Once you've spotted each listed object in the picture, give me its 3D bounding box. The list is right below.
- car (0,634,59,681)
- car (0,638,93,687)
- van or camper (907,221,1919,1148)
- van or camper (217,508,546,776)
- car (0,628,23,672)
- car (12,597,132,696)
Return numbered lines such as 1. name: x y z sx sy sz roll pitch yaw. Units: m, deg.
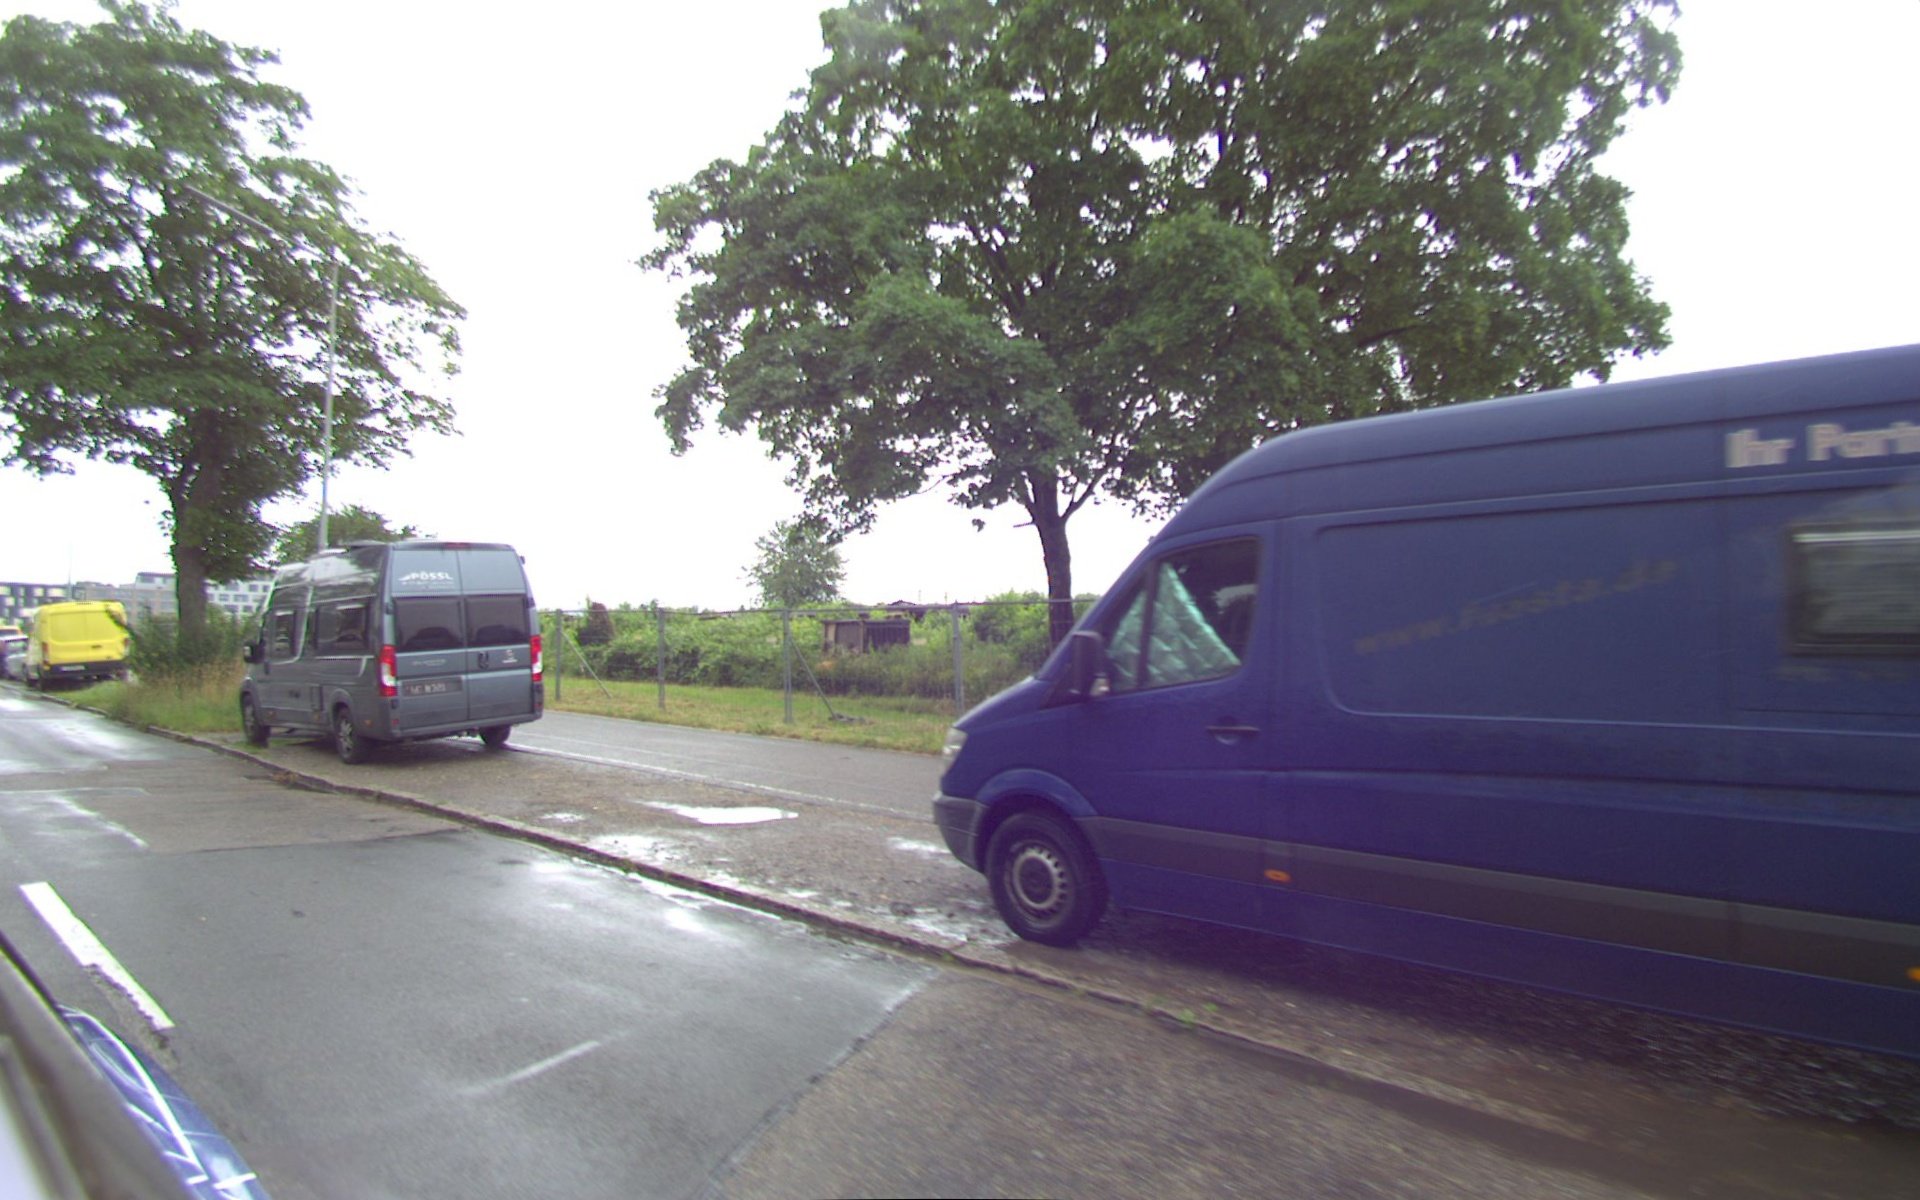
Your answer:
1. car: -35.892 2.147 38.351 5.014 1.606 1.973 -1 -1 41
2. car: -31.774 2.101 34.961 5.337 1.445 1.989 -1 0 41
3. van or camper: 3.274 0.249 3.973 7.568 2.736 2.073 -1 -1 40
4. van or camper: -8.580 0.531 14.633 6.419 3.117 2.073 -1 -1 40
5. car: -44.964 2.286 46.656 6.062 1.971 1.996 -2 -2 41
6. car: -27.104 1.350 30.808 6.081 2.715 2.168 -2 -1 43
